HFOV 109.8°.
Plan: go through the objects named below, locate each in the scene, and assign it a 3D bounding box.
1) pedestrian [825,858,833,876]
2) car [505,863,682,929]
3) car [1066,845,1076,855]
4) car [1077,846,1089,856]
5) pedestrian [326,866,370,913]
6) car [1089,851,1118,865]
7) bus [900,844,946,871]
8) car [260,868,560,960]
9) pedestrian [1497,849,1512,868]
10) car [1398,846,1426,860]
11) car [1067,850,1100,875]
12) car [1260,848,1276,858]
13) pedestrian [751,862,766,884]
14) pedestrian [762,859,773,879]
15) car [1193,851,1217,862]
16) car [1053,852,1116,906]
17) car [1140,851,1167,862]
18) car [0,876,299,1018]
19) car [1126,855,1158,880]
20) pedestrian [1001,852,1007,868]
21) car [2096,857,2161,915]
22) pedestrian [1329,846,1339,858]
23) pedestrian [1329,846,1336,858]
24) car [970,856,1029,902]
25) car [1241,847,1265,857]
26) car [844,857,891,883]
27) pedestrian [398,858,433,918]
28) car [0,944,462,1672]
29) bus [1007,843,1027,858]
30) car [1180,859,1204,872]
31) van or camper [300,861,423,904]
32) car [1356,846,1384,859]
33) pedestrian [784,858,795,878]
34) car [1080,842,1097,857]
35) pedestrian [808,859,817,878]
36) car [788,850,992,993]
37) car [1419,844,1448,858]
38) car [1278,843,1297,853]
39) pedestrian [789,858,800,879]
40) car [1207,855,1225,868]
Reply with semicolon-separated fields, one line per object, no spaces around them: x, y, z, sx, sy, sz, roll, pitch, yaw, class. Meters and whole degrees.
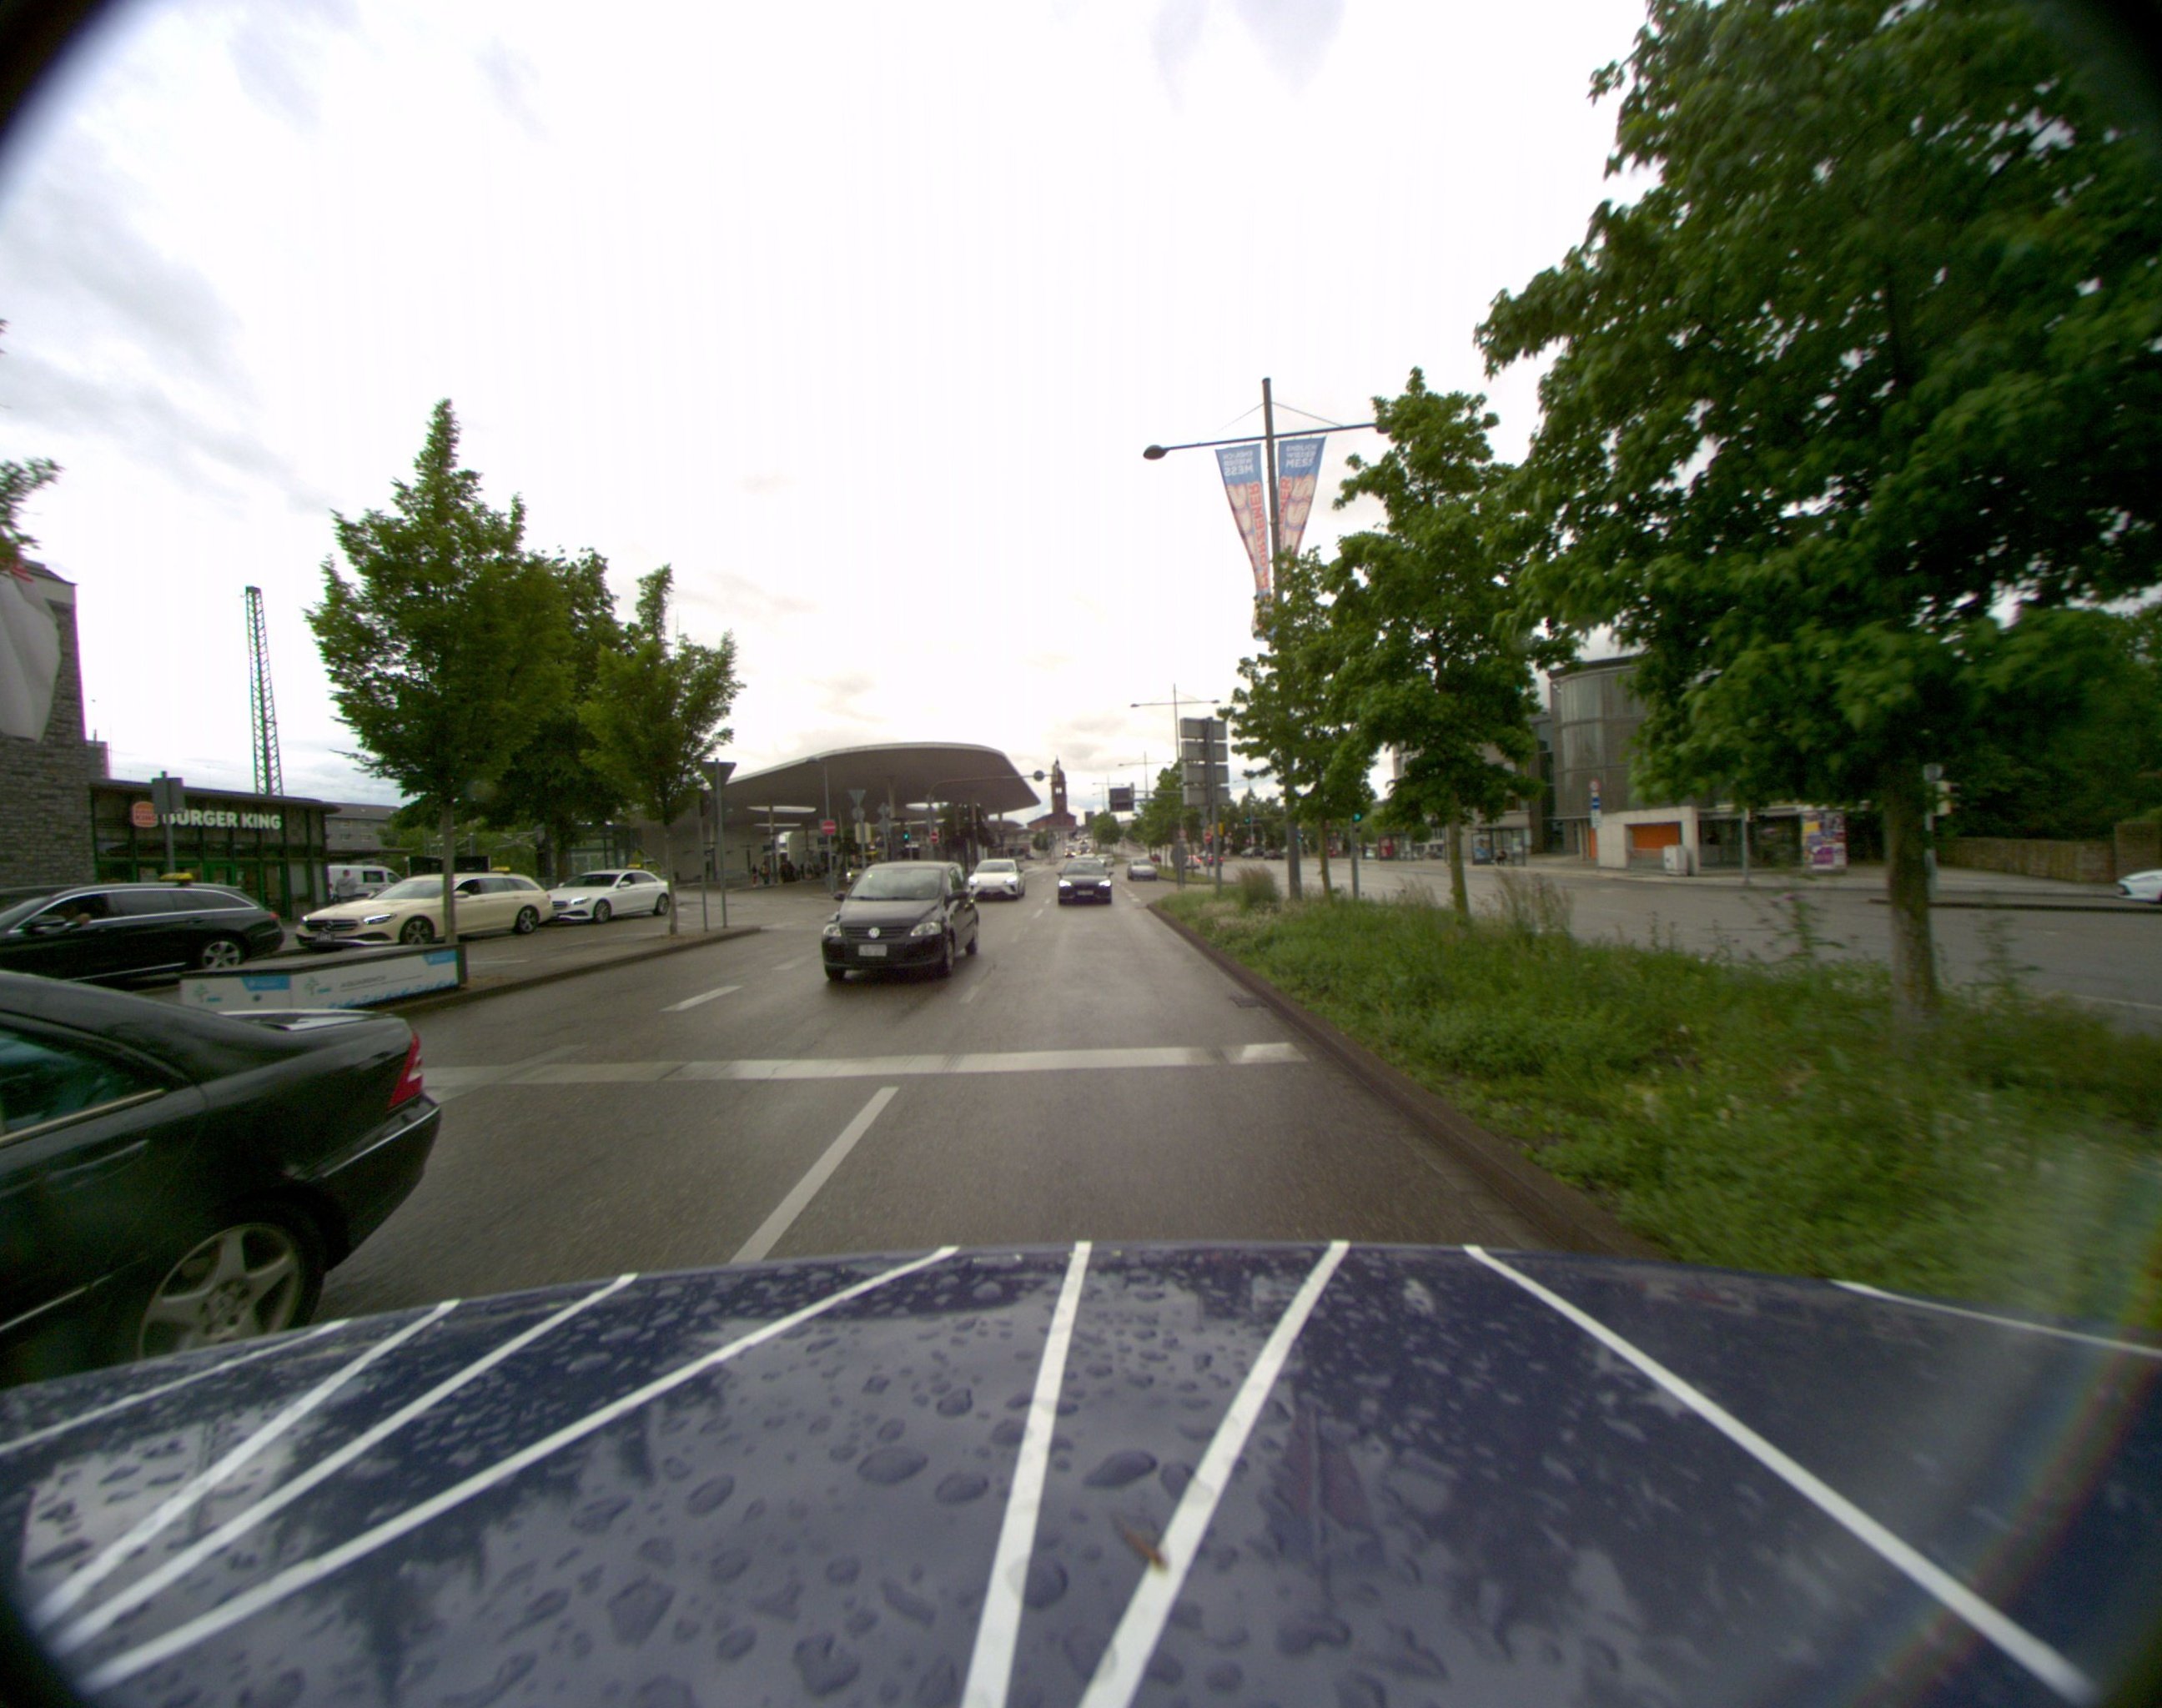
-21.432;1.094;64.678;0.478;1.505;0.535;-1;1;4;pedestrian
-13.898;1.117;22.104;1.884;1.590;4.902;0;1;1;car
-1.903;-0.788;145.890;1.998;2.002;3.999;0;1;0;car
0.366;-0.575;151.137;1.999;2.002;3.998;0;1;-5;car
-25.220;1.219;26.149;0.770;1.571;0.710;0;1;-2;pedestrian
2.967;0.505;99.169;1.872;1.624;4.293;0;1;29;car
-19.083;0.449;92.648;2.876;3.063;11.924;0;-1;1;bus
-13.985;1.146;16.398;1.998;1.590;4.958;0;0;1;car
28.983;0.279;52.006;0.668;1.292;0.720;0;1;6;pedestrian
42.444;-0.180;97.316;4.166;1.692;1.871;-1;1;-44;car
0.131;0.570;52.862;1.876;1.624;4.298;0;1;-6;car
27.724;-0.153;112.875;1.680;1.503;3.864;0;1;4;car
-23.203;1.354;54.697;0.641;1.586;0.741;0;1;15;pedestrian
-23.508;1.130;56.995;0.533;1.505;0.480;-1;1;35;pedestrian
20.066;0.426;122.471;1.889;1.704;4.226;0;1;41;car
0.034;0.805;26.094;1.876;1.692;4.156;0;0;-4;car
10.721;0.351;111.468;1.871;1.624;4.166;-1;0;41;car
-13.911;1.190;10.031;1.999;1.590;4.958;-2;0;0;car
3.918;0.842;49.237;1.699;1.457;3.719;0;1;0;car
-8.889;0.697;87.620;0.446;1.753;0.536;-2;1;-21;pedestrian
27.801;0.788;18.181;3.988;1.390;1.638;1;1;45;car
30.303;-0.273;91.024;0.983;1.481;0.735;0;1;11;pedestrian
30.439;-0.284;92.003;0.732;1.481;0.735;0;1;9;pedestrian
-3.008;0.894;28.854;1.811;1.550;4.049;0;1;-1;car
27.975;-0.340;123.449;1.889;1.704;4.226;0;1;43;car
-15.104;1.099;54.042;1.998;1.671;4.541;0;1;1;car
-24.452;1.244;27.934;0.799;2.152;0.721;-1;1;-30;pedestrian
-3.220;1.114;0.771;1.699;1.457;4.450;0;1;-3;car
-13.832;-0.729;163.925;3.585;3.080;10.746;-1;0;-8;bus
12.155;1.225;83.424;2.010;1.345;4.164;0;1;1;car
-44.682;1.692;47.422;1.998;2.419;5.864;0;1;1;van or camper
38.612;-0.187;101.342;4.166;1.692;1.871;-1;1;-44;car
-21.625;1.031;56.367;0.534;1.505;0.479;-1;1;5;pedestrian
0.869;-0.549;86.997;1.876;1.624;4.156;0;1;0;car
-21.444;1.136;60.734;0.478;1.505;0.535;-1;1;4;pedestrian
-2.539;0.804;11.218;1.875;1.692;4.157;0;1;1;car
44.433;-0.351;95.718;4.166;1.692;1.871;-1;1;-44;car
37.357;-1.116;137.430;1.994;1.871;4.008;0;1;39;car
-20.958;1.086;55.636;0.534;1.505;0.479;-1;1;5;pedestrian
16.163;0.841;90.930;1.698;1.457;4.452;0;1;4;car
